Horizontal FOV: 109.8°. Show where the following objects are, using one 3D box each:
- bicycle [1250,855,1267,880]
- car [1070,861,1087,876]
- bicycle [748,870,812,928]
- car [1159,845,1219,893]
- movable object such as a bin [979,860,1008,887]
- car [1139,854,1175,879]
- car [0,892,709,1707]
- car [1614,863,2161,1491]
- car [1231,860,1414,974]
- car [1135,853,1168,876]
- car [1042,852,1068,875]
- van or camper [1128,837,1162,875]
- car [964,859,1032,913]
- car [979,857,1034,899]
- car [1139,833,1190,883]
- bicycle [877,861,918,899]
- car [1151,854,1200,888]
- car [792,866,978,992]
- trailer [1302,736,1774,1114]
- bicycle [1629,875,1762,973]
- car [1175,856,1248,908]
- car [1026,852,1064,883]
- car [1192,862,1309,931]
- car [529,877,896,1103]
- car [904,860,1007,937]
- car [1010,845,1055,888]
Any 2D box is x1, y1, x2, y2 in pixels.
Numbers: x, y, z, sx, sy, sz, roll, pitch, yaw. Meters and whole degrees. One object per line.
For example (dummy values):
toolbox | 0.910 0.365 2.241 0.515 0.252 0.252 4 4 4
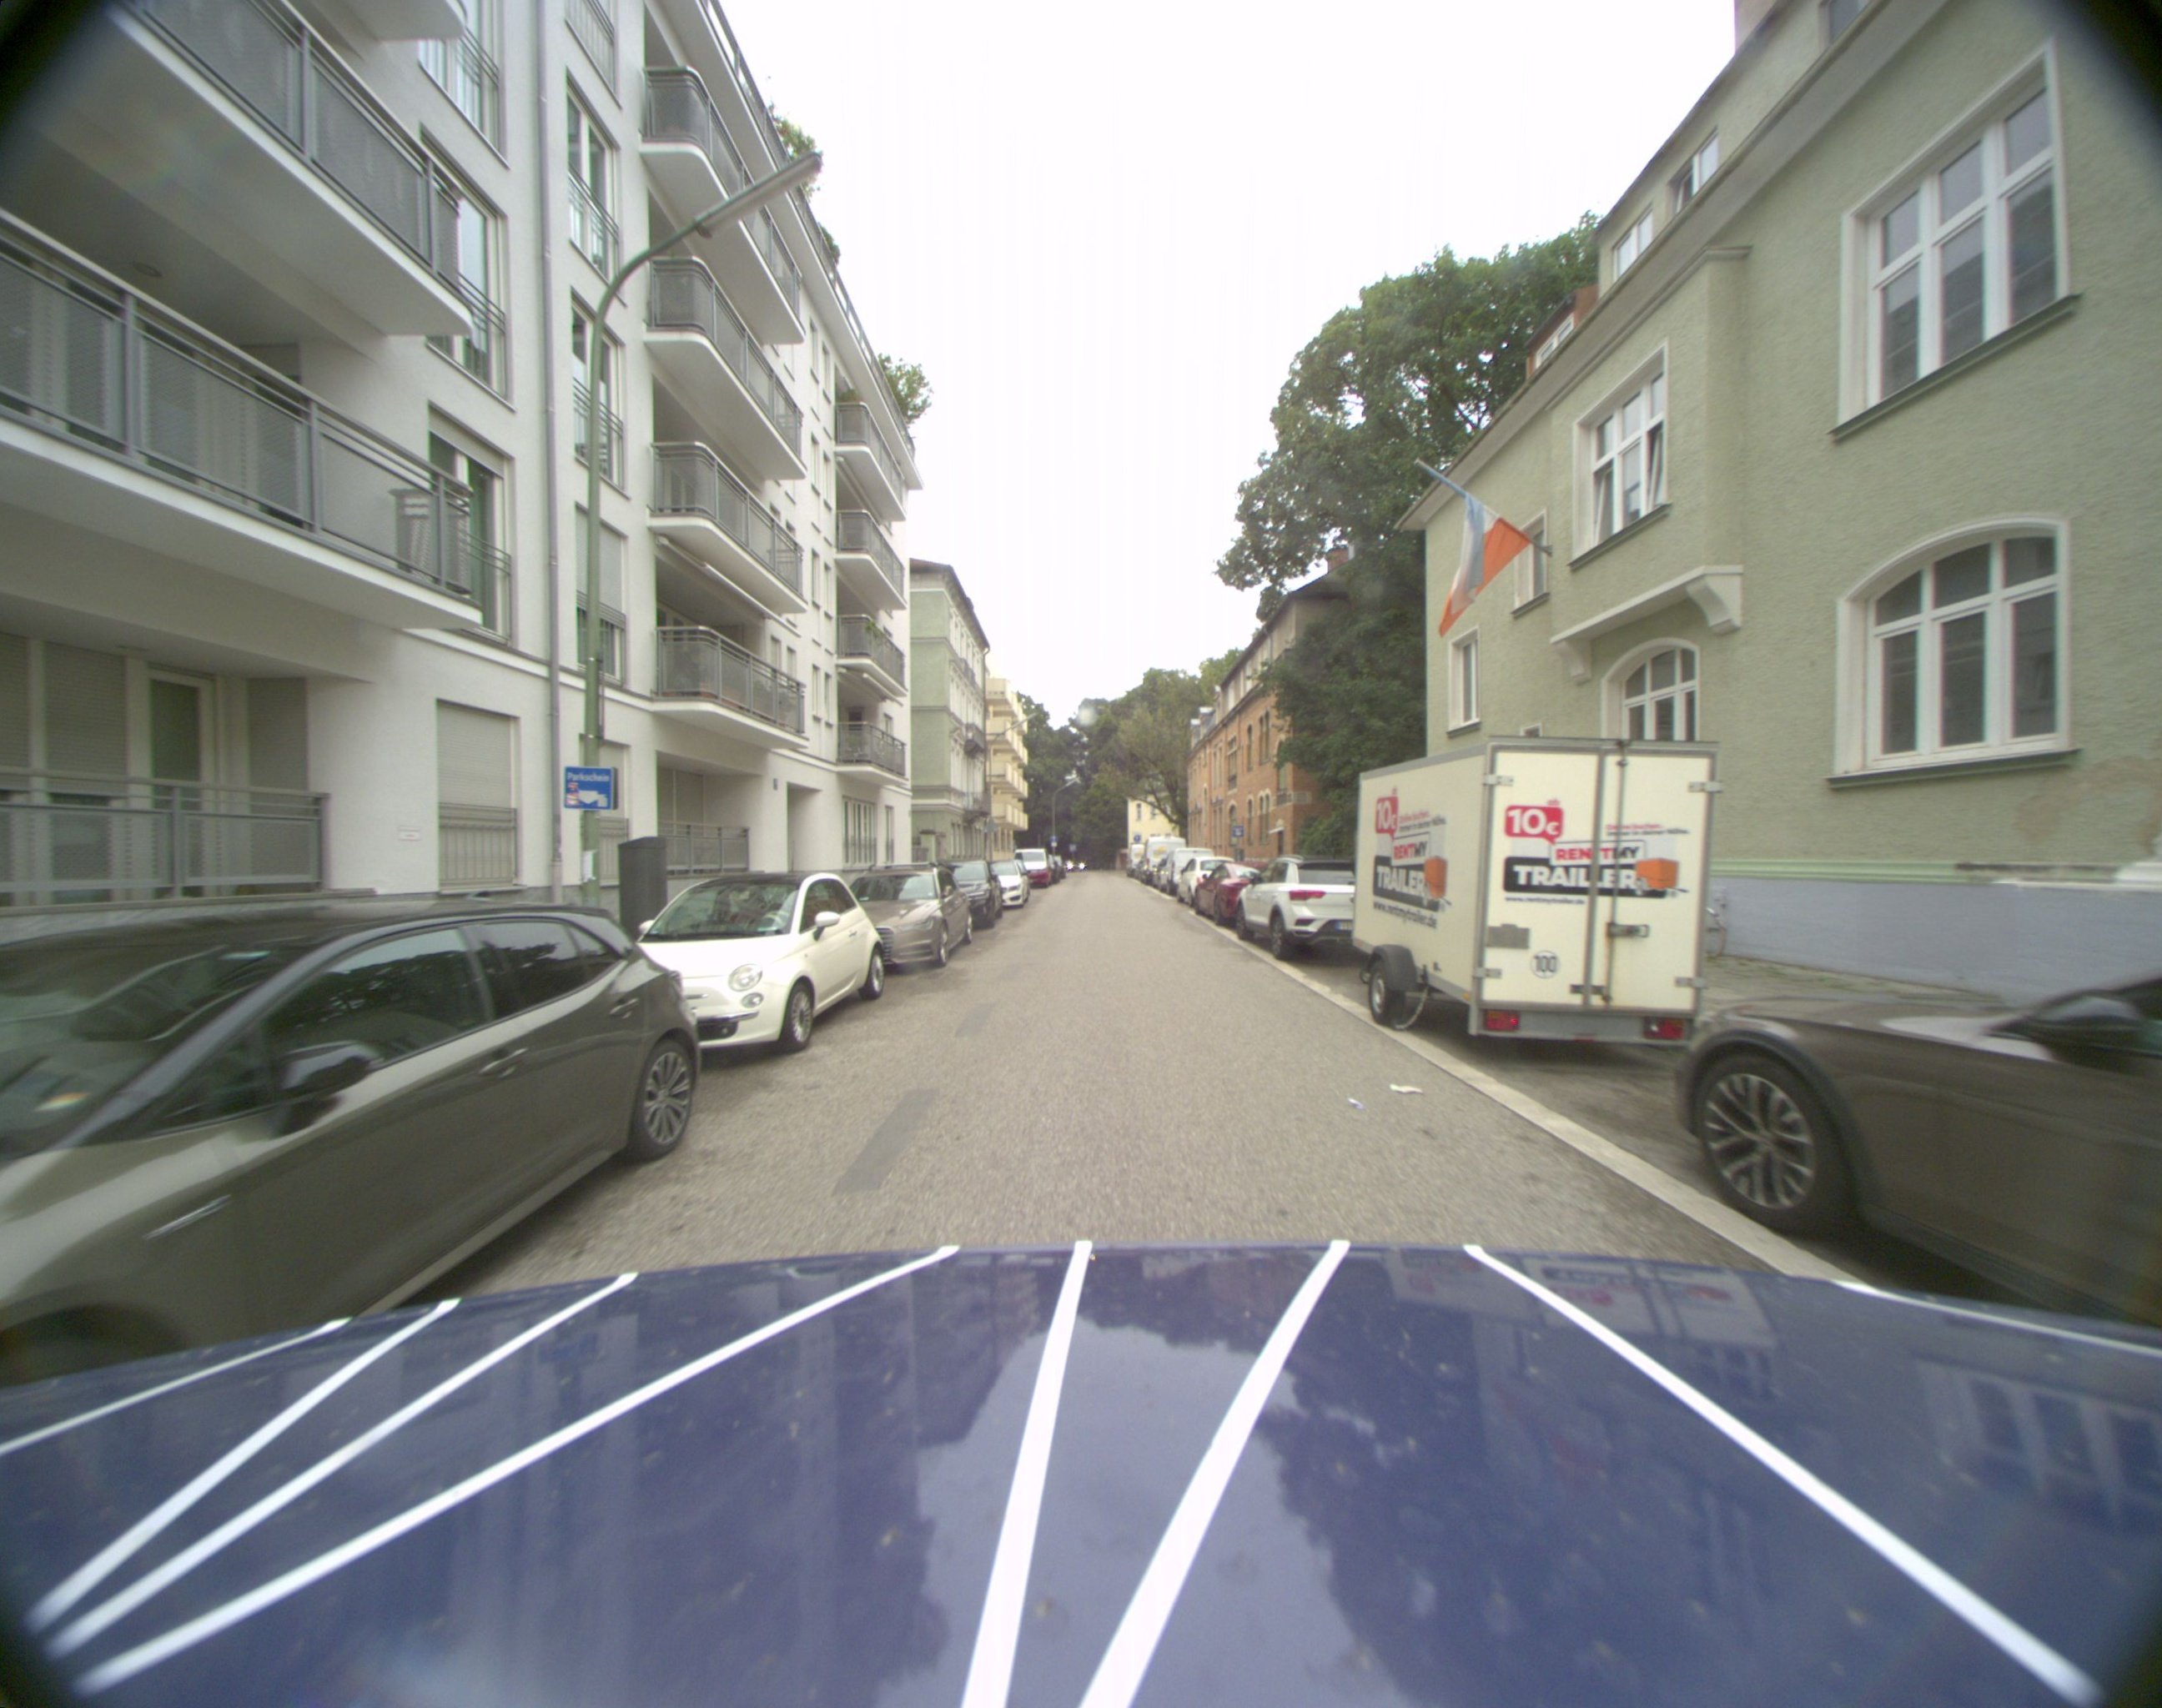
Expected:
bicycle | 8.360 0.623 35.762 0.435 1.078 1.471 -2 1 0
car | -0.255 1.490 80.459 1.482 1.521 3.692 -1 0 -5
bicycle | -6.361 0.918 16.155 0.570 1.091 1.810 3 0 1
car | 4.104 0.548 29.508 1.719 1.745 4.250 0 0 0
movable object such as a bin | -4.091 0.877 35.682 1.023 1.186 2.163 2 0 2
car | 4.488 0.730 45.232 1.769 1.407 3.793 0 0 0
car | -3.044 0.966 2.371 1.776 1.467 4.217 -1 0 -2
car | 3.587 0.818 1.350 1.868 1.532 5.092 1 0 3
car | 3.685 0.870 12.376 1.683 1.521 4.107 0 0 0
car | 4.623 0.684 50.295 1.769 1.491 4.080 0 0 0
car | -1.865 0.708 55.983 1.771 1.607 4.263 -1 0 0
van or camper | 4.675 0.142 56.299 2.116 2.646 4.958 0 0 0
car | -2.507 0.935 23.974 1.668 1.458 4.376 -2 0 -1
car | -2.751 0.865 28.805 1.719 1.414 3.719 -2 0 -1
car | 4.302 0.214 39.864 2.117 2.461 5.231 0 0 0
bicycle | -5.950 0.828 24.774 0.803 1.165 1.973 -1 0 1
car | 4.218 0.721 34.377 1.719 1.412 4.166 0 0 0
car | -2.862 1.013 12.183 1.796 1.473 4.602 -2 0 -1
trailer | 3.707 0.455 7.385 1.980 2.457 4.577 2 1 4
bicycle | 7.837 0.854 9.772 0.461 1.078 1.523 -2 1 0
car | 3.883 0.797 23.109 1.630 1.459 3.521 0 0 0
car | -2.086 0.735 44.772 1.860 1.700 4.698 -2 0 1
car | 3.797 0.897 17.742 1.750 1.360 4.403 0 0 0
car | -3.101 1.035 7.330 1.621 1.458 3.746 -2 0 1
car | -2.828 0.943 18.023 1.842 1.524 4.020 -2 0 -2
car | -2.408 0.622 38.999 1.858 2.019 4.783 -2 0 1
